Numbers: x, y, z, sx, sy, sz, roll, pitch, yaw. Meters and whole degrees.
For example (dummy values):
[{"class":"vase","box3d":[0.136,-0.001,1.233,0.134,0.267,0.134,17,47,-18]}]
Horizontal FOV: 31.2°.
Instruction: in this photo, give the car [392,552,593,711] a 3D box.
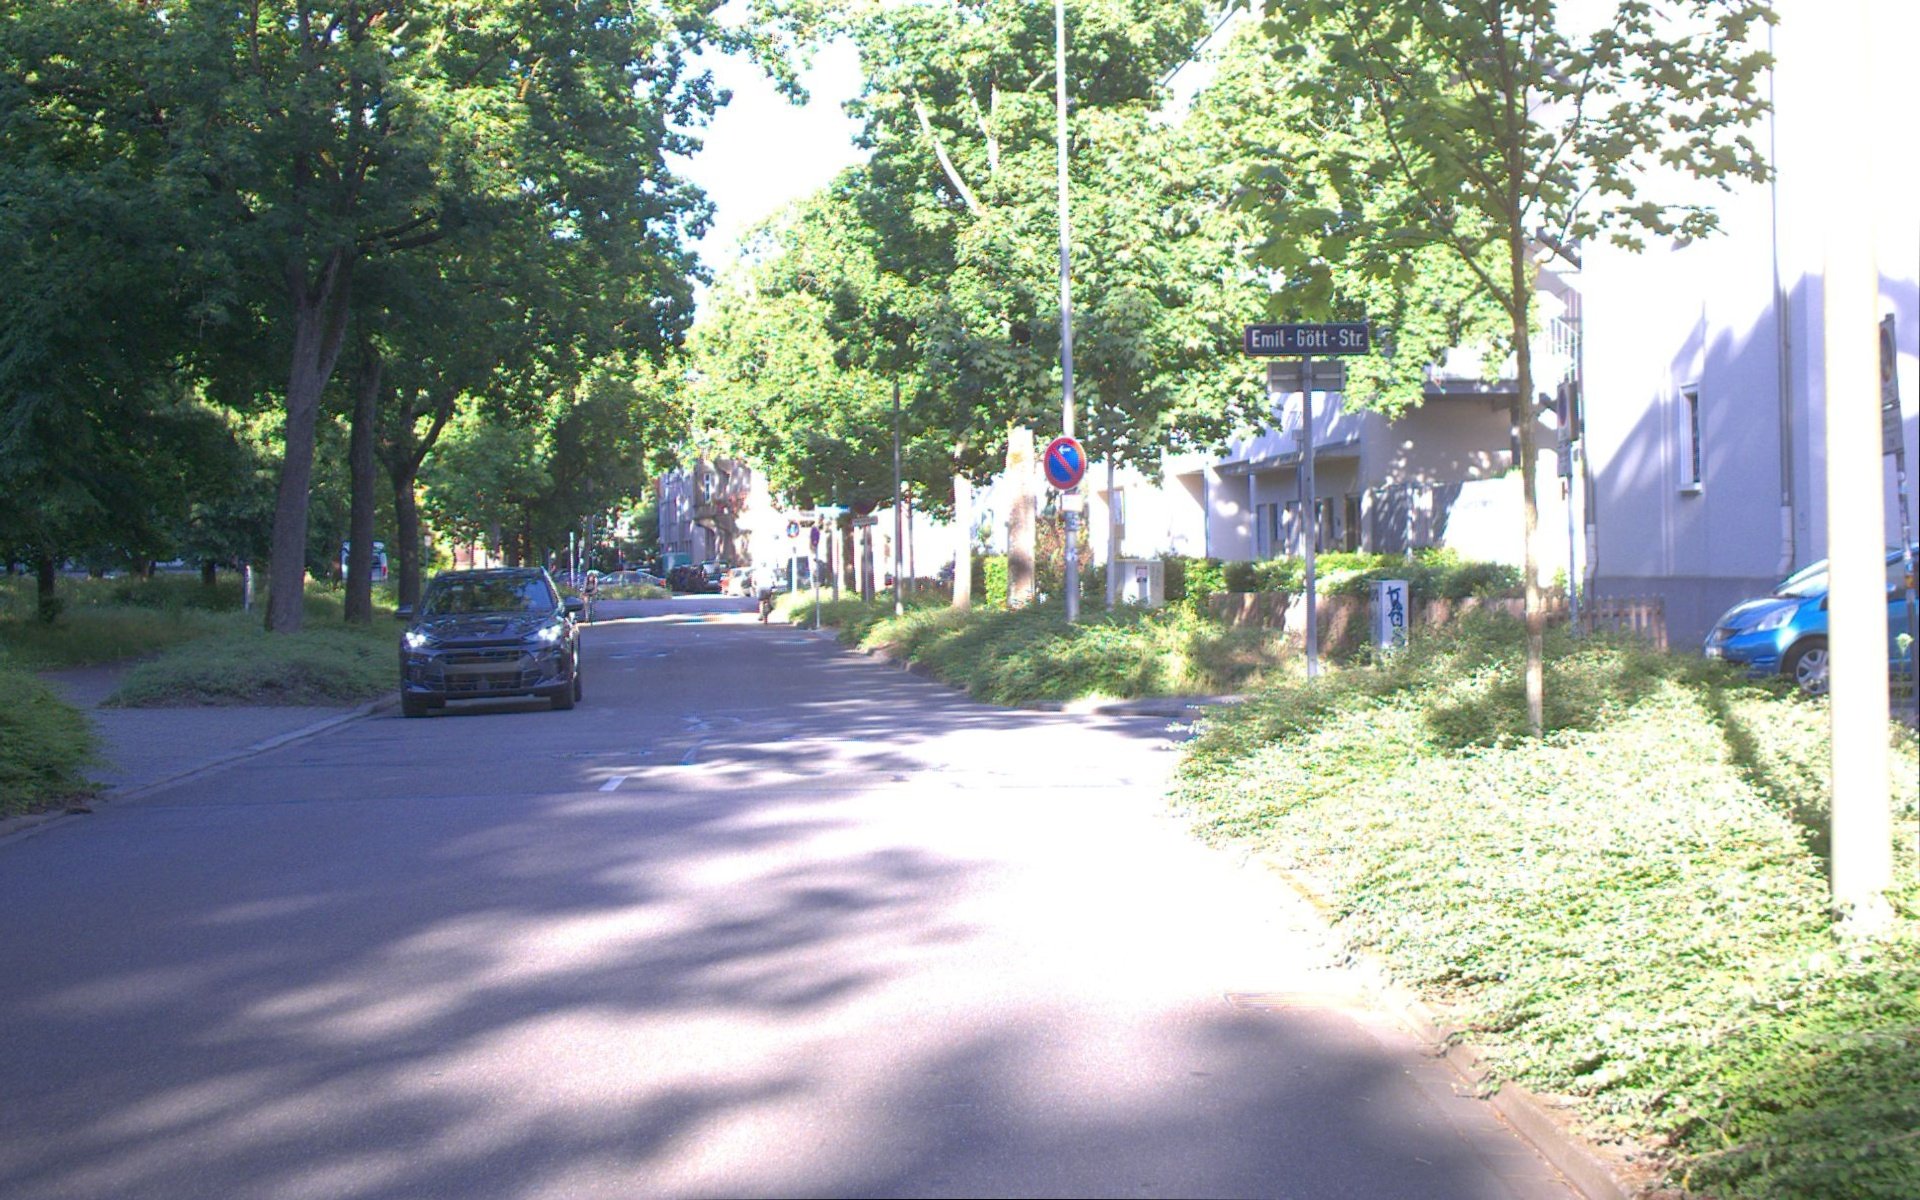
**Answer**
[{"class":"car","box3d":[-5.108,0.298,38.017,1.844,1.573,4.336,-2,1,-4]}]

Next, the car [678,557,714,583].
[{"class":"car","box3d":[-15.557,-1.772,202.612,1.811,1.496,4.001,1,1,-8]}]

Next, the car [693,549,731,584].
[{"class":"car","box3d":[-14.056,-1.894,194.560,1.811,1.919,4.001,1,1,-8]}]

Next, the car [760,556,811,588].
[{"class":"car","box3d":[-8.465,-1.346,166.398,1.811,1.496,4.001,-1,1,-12]}]

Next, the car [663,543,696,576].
[{"class":"car","box3d":[-17.902,-2.573,219.226,1.811,2.043,4.001,1,1,-8]}]

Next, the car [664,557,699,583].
[{"class":"car","box3d":[-16.947,-1.831,209.063,1.811,1.496,4.001,1,1,-8]}]

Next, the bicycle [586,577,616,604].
[{"class":"bicycle","box3d":[-10.523,-0.282,100.806,0.639,0.739,2.126,-2,1,0]}]

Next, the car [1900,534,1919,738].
[{"class":"car","box3d":[9.144,0.268,25.132,4.040,1.509,1.727,0,-1,-4]}]

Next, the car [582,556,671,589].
[{"class":"car","box3d":[-15.880,-1.316,163.635,3.986,1.496,1.818,1,1,-12]}]

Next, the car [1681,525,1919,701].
[{"class":"car","box3d":[9.121,0.087,32.903,3.986,1.576,1.810,-1,2,-5]}]

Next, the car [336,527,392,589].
[{"class":"car","box3d":[-24.545,-1.711,141.475,1.993,2.499,4.001,0,0,-13]}]

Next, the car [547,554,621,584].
[{"class":"car","box3d":[-19.225,-1.572,175.727,3.586,1.505,1.500,1,1,-12]}]

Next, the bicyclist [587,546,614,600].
[{"class":"bicyclist","box3d":[-10.549,-0.781,100.775,0.633,1.549,1.002,-2,1,-1]}]
